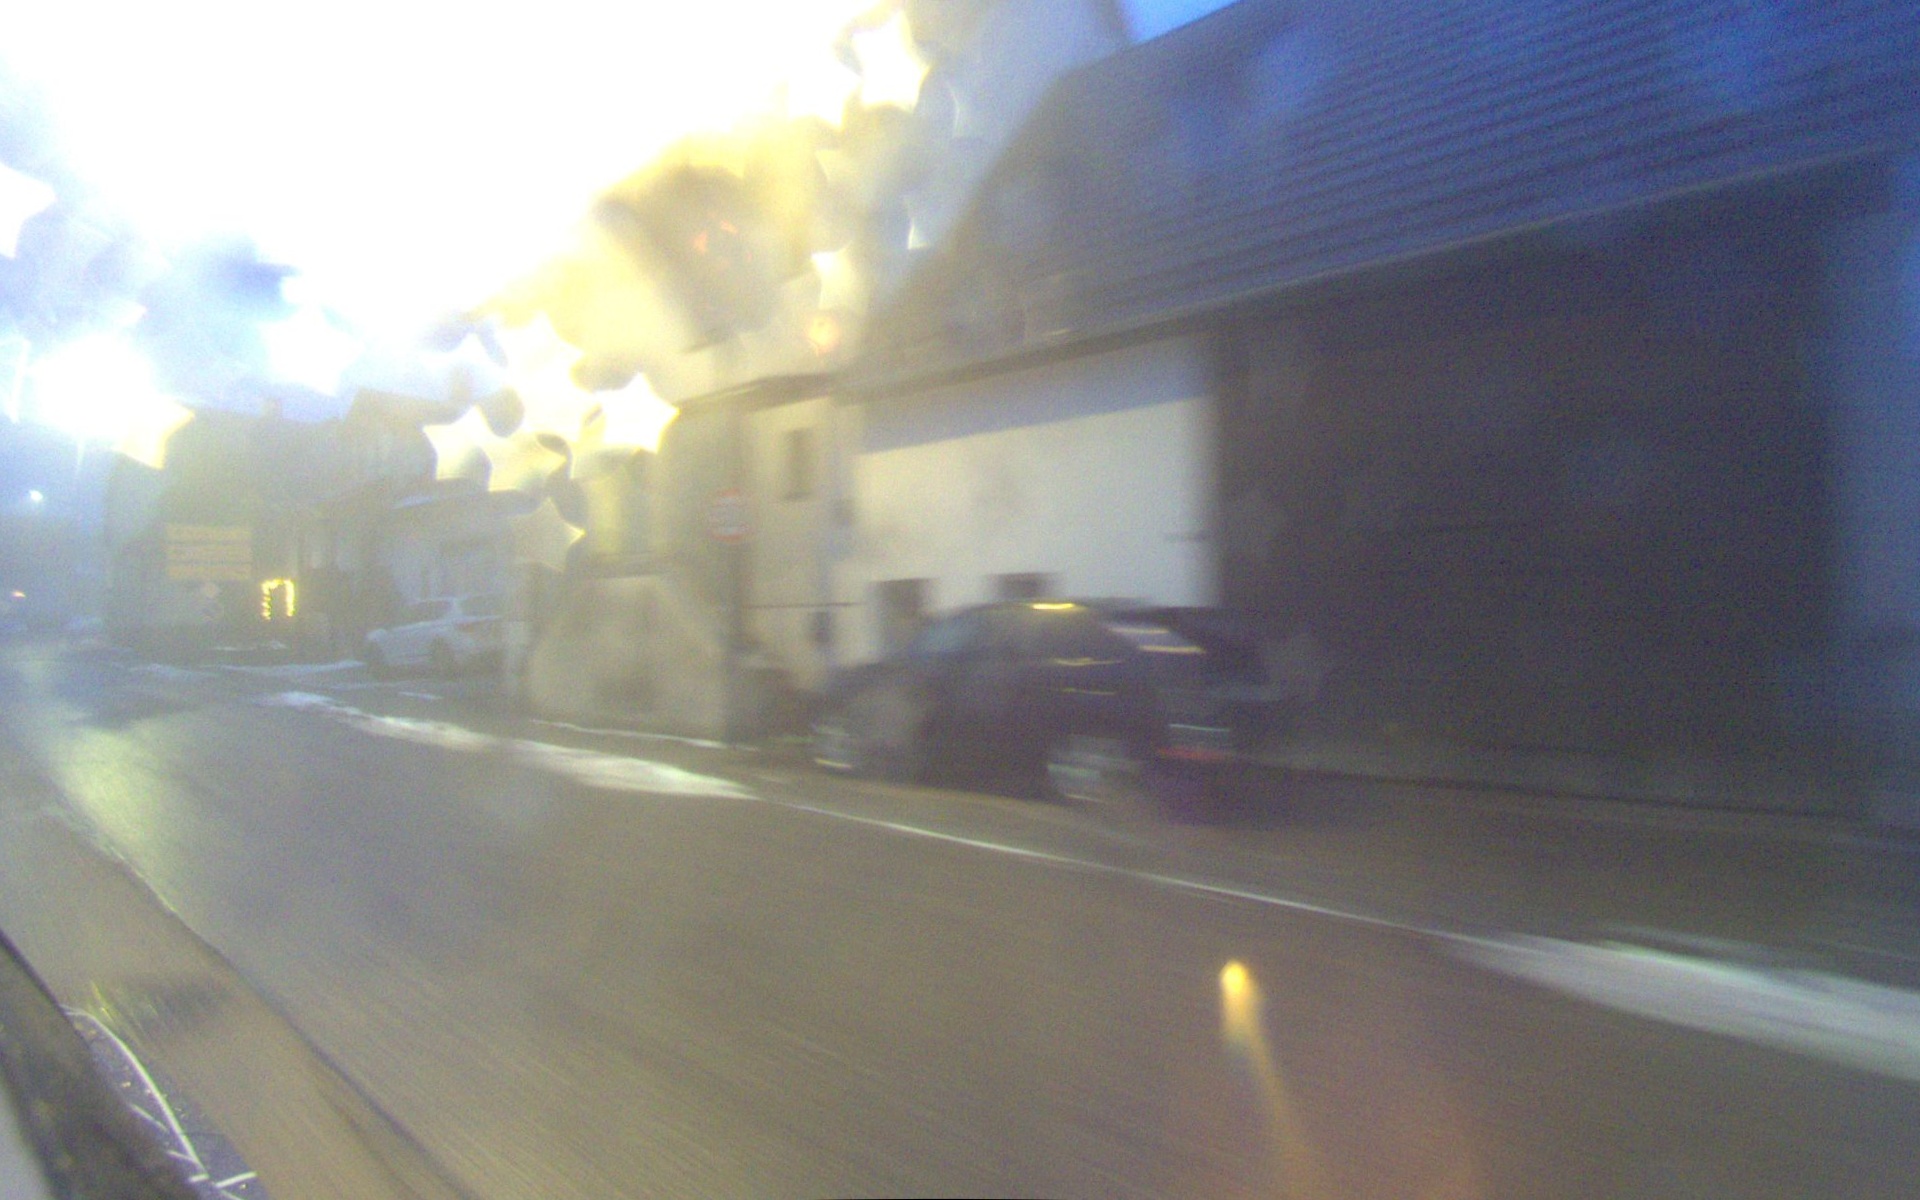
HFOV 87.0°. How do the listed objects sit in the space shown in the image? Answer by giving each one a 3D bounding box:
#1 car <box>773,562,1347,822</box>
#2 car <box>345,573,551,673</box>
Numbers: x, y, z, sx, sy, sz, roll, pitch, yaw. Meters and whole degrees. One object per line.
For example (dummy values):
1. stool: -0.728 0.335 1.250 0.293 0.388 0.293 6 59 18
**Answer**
1. car: 0.641 0.591 8.163 4.187 1.534 1.974 -2 1 40
2. car: -10.909 0.514 21.453 4.627 1.749 1.750 -4 3 34
